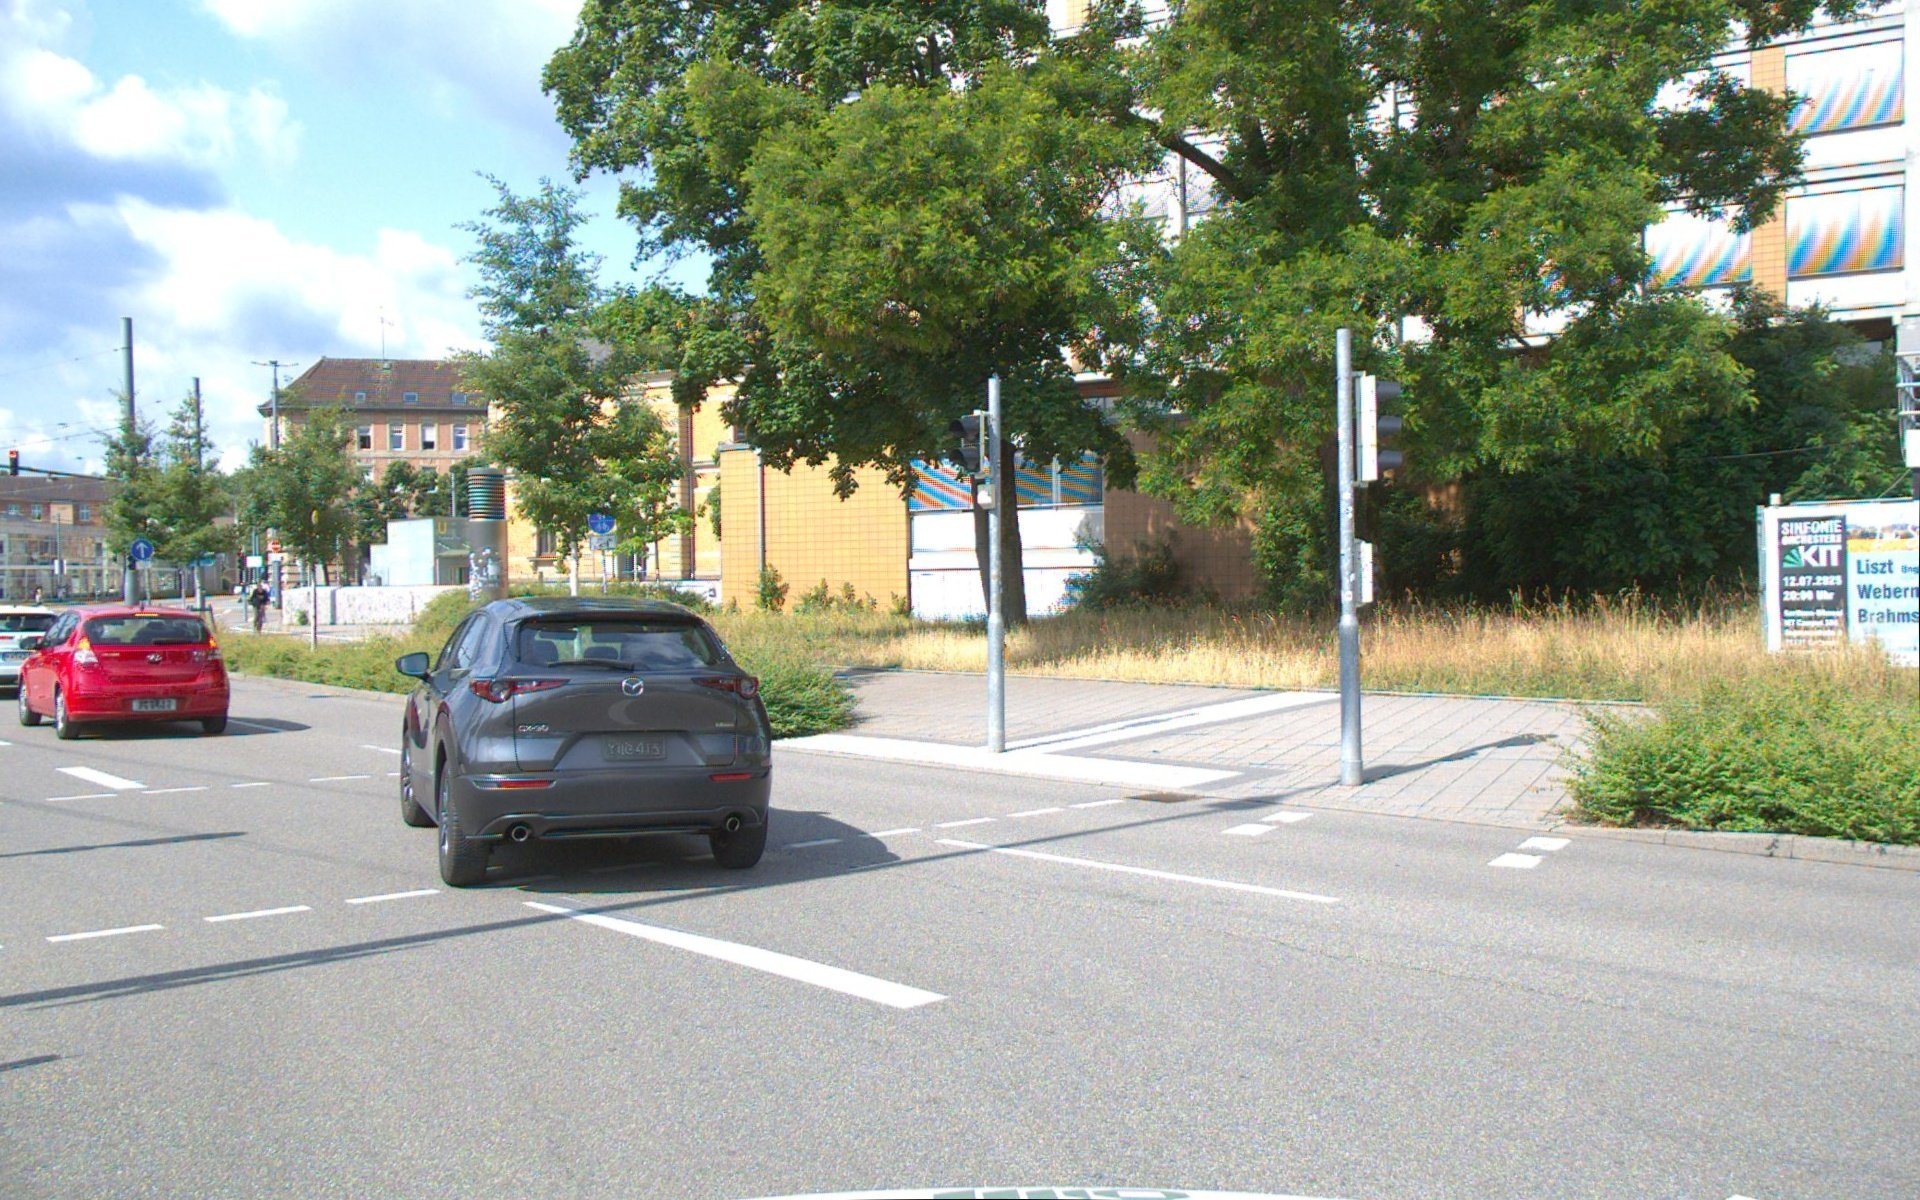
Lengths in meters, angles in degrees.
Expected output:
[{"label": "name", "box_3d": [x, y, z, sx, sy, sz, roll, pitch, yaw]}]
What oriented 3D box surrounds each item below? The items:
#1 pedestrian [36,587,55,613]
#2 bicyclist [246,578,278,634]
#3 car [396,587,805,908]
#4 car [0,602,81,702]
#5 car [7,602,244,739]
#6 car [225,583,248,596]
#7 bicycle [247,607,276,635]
[{"label": "pedestrian", "box_3d": [-55.011, 0.007, 99.491, 0.658, 1.562, 0.676, -1, 1, 17]}, {"label": "bicyclist", "box_3d": [-22.061, 0.188, 52.274, 0.728, 1.731, 0.956, -3, 2, -30]}, {"label": "car", "box_3d": [-2.429, 0.726, 10.263, 1.781, 1.534, 4.176, -1, 0, -22]}, {"label": "car", "box_3d": [-15.871, 0.817, 27.338, 1.833, 1.498, 4.281, -2, 1, -35]}, {"label": "car", "box_3d": [-10.103, 0.775, 19.878, 1.804, 1.465, 4.011, 0, 0, -38]}, {"label": "car", "box_3d": [-87.621, -1.292, 200.386, 1.961, 1.467, 3.983, -1, 1, -15]}, {"label": "bicycle", "box_3d": [-22.137, 0.658, 52.422, 0.618, 0.825, 1.771, -3, 2, -29]}]
